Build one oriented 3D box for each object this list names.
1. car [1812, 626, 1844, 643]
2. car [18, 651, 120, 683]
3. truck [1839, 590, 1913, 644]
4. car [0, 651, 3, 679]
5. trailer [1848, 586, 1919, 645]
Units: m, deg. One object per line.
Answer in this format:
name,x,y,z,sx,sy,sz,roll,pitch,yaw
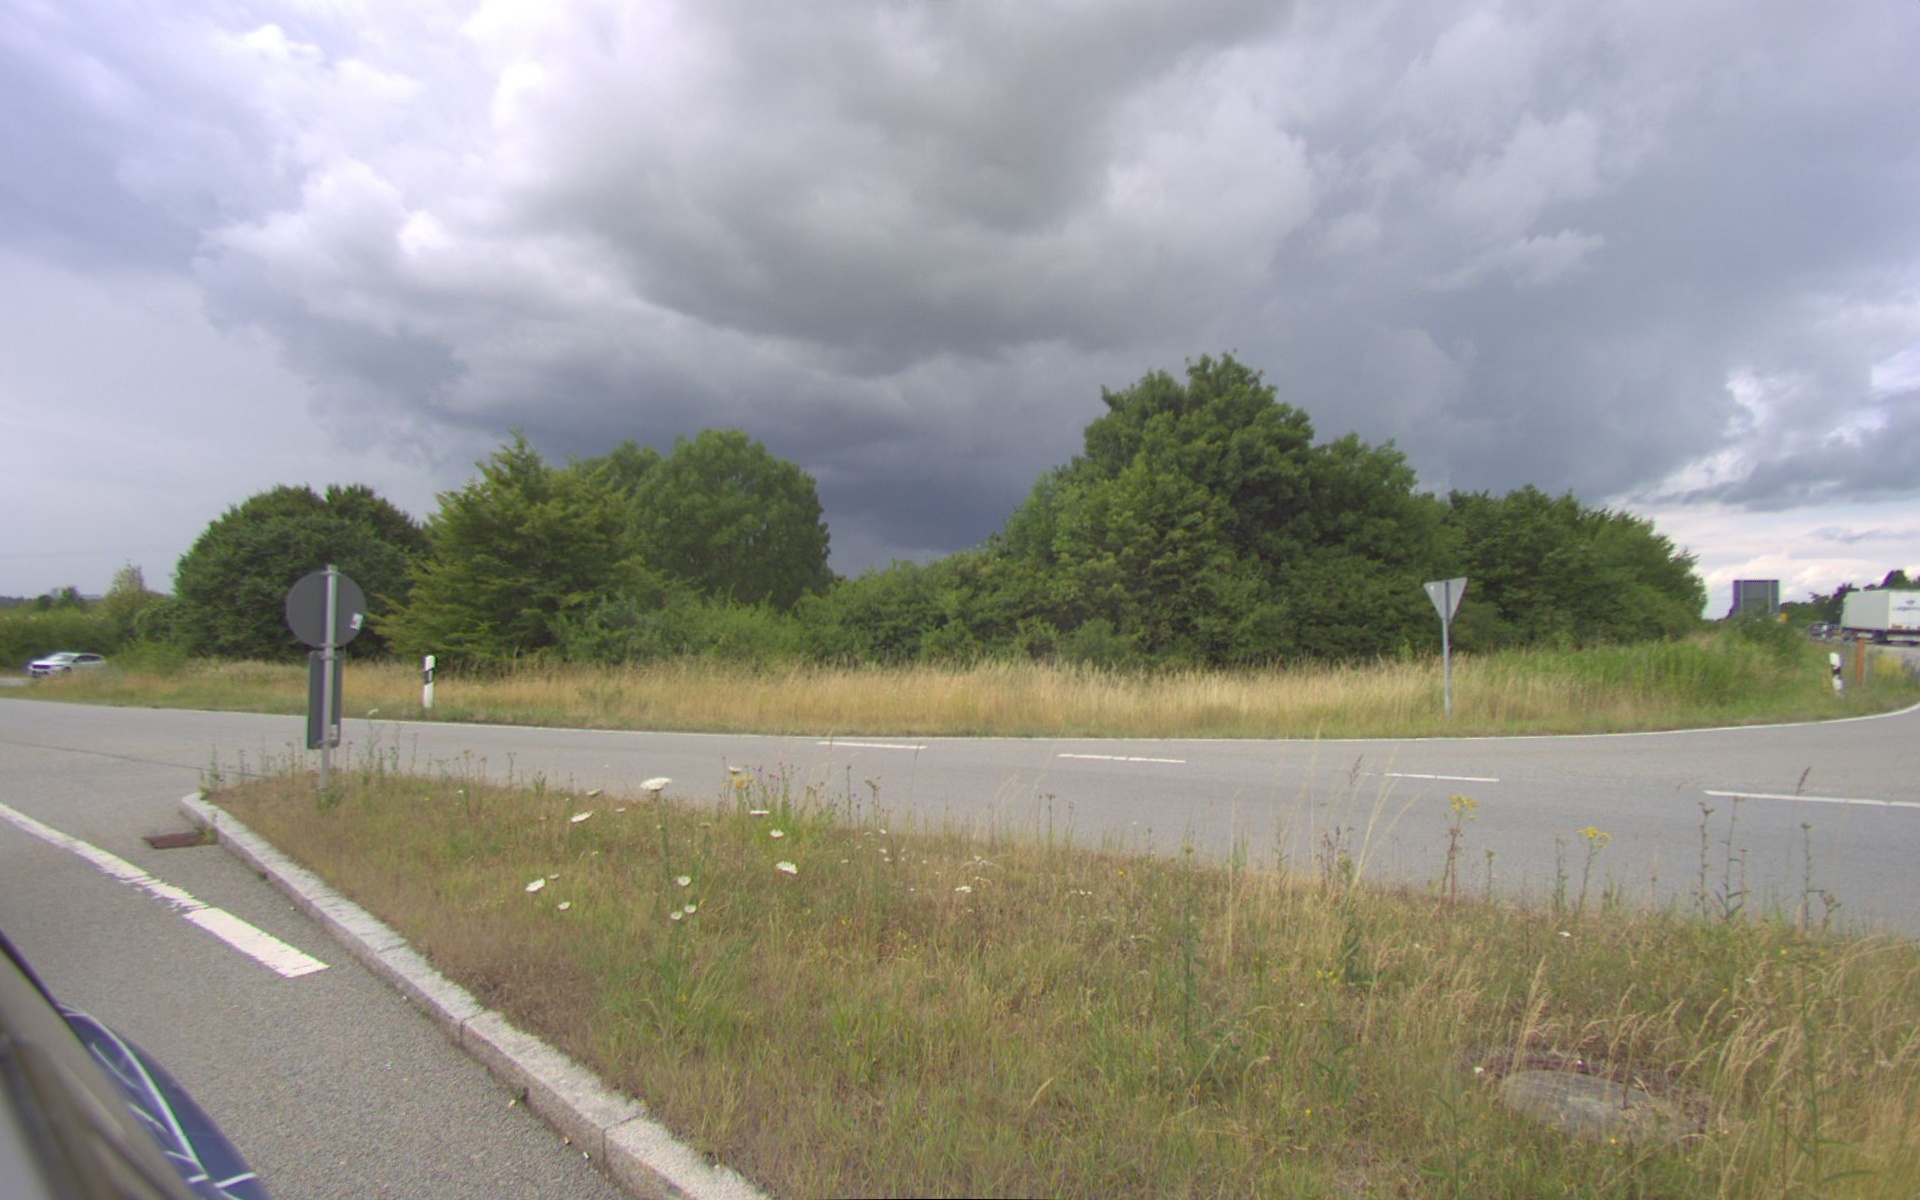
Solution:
car,87.618,3.483,102.183,1.995,1.614,4.174,-1,-3,34
car,-54.485,4.075,62.033,1.969,1.732,5.216,3,-3,-7
truck,73.071,1.379,80.887,3.119,4.044,7.227,1,-1,32
car,-52.495,3.456,52.353,1.966,1.733,5.222,3,-3,-15
trailer,69.592,1.223,75.269,3.119,4.044,13.733,1,-1,32
